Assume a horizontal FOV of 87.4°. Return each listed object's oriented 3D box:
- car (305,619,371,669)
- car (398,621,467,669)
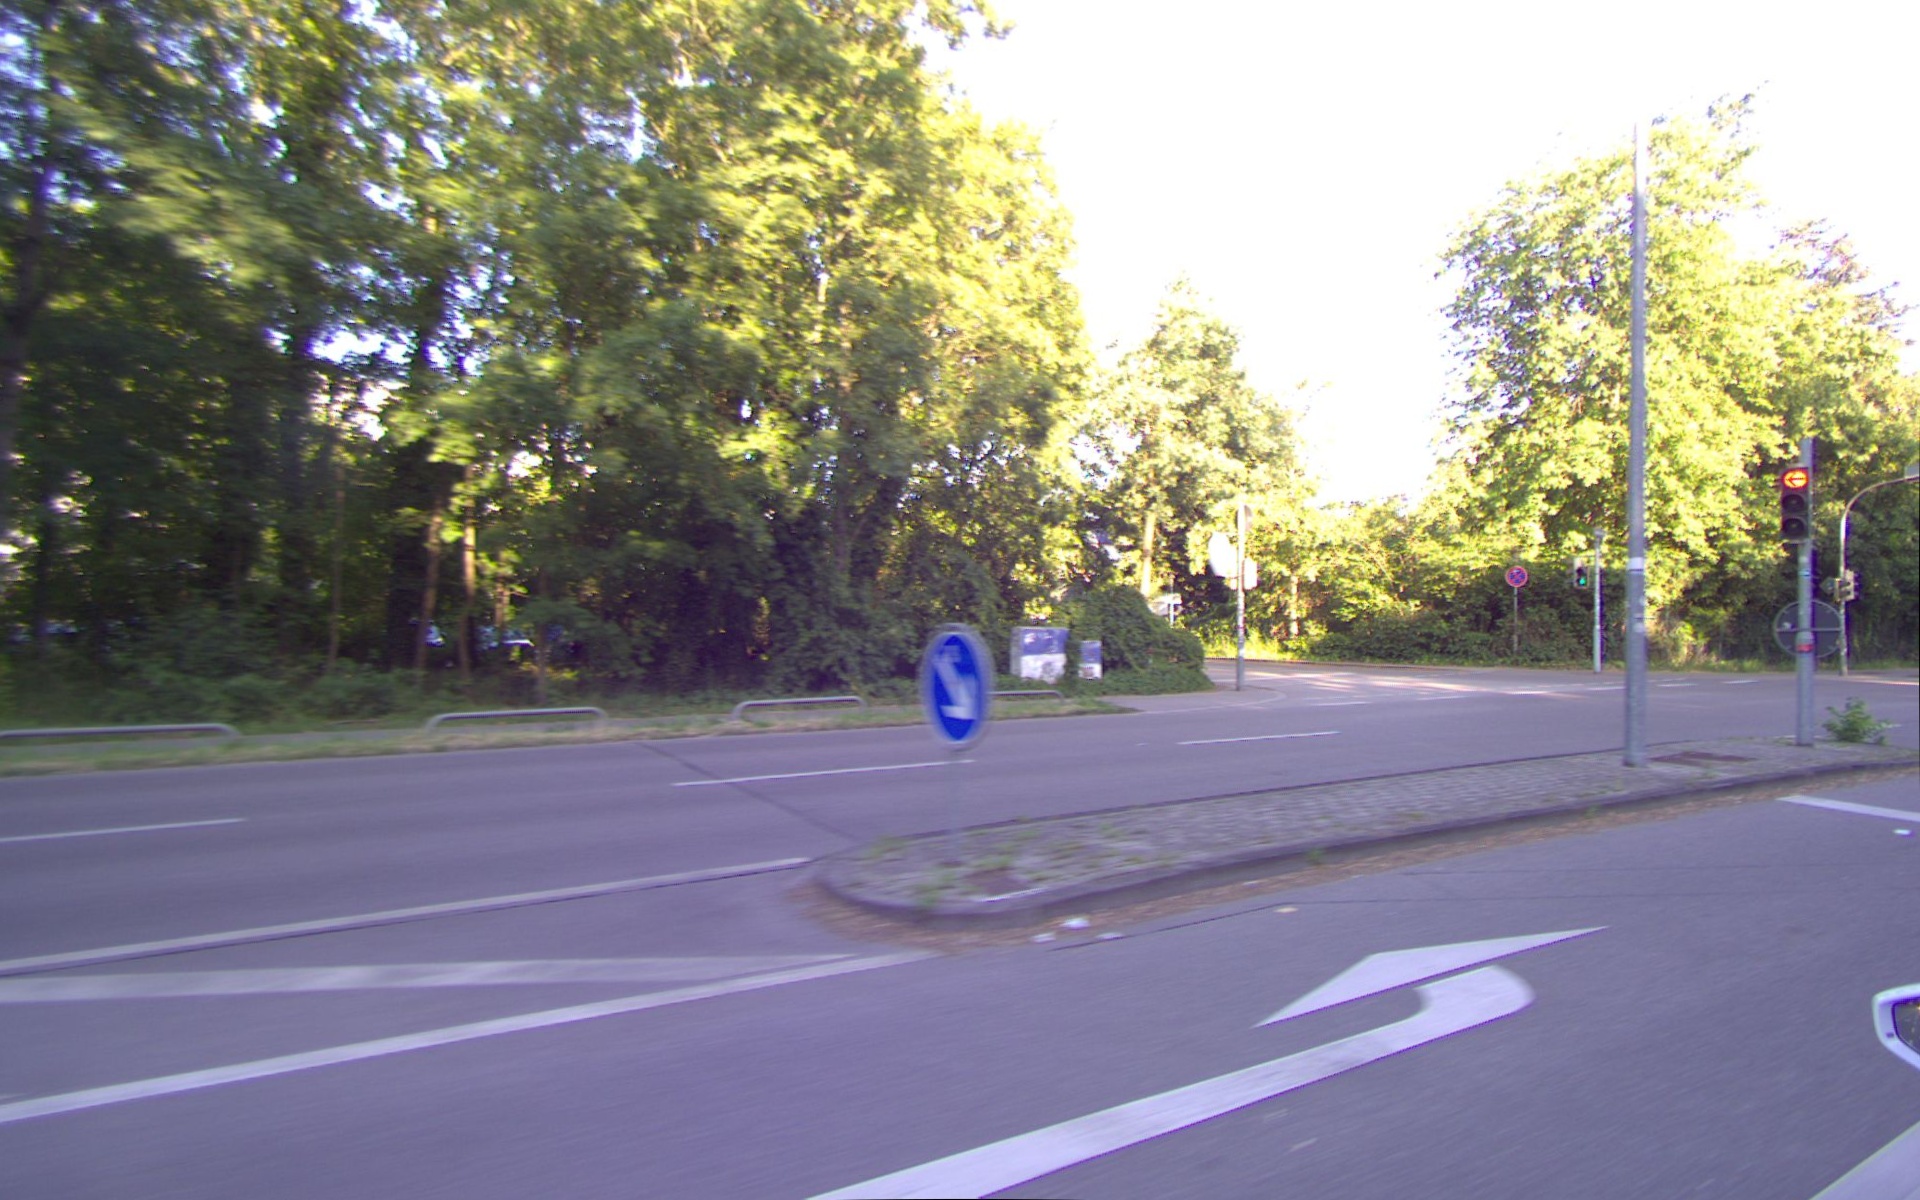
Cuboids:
[{"bbox_3d":[-23.823,1.639,38.424,1.980,1.773,3.962,1,-1,-34],"label":"car"},{"bbox_3d":[-21.071,1.733,40.051,1.980,1.773,3.962,1,-1,-34],"label":"car"}]
